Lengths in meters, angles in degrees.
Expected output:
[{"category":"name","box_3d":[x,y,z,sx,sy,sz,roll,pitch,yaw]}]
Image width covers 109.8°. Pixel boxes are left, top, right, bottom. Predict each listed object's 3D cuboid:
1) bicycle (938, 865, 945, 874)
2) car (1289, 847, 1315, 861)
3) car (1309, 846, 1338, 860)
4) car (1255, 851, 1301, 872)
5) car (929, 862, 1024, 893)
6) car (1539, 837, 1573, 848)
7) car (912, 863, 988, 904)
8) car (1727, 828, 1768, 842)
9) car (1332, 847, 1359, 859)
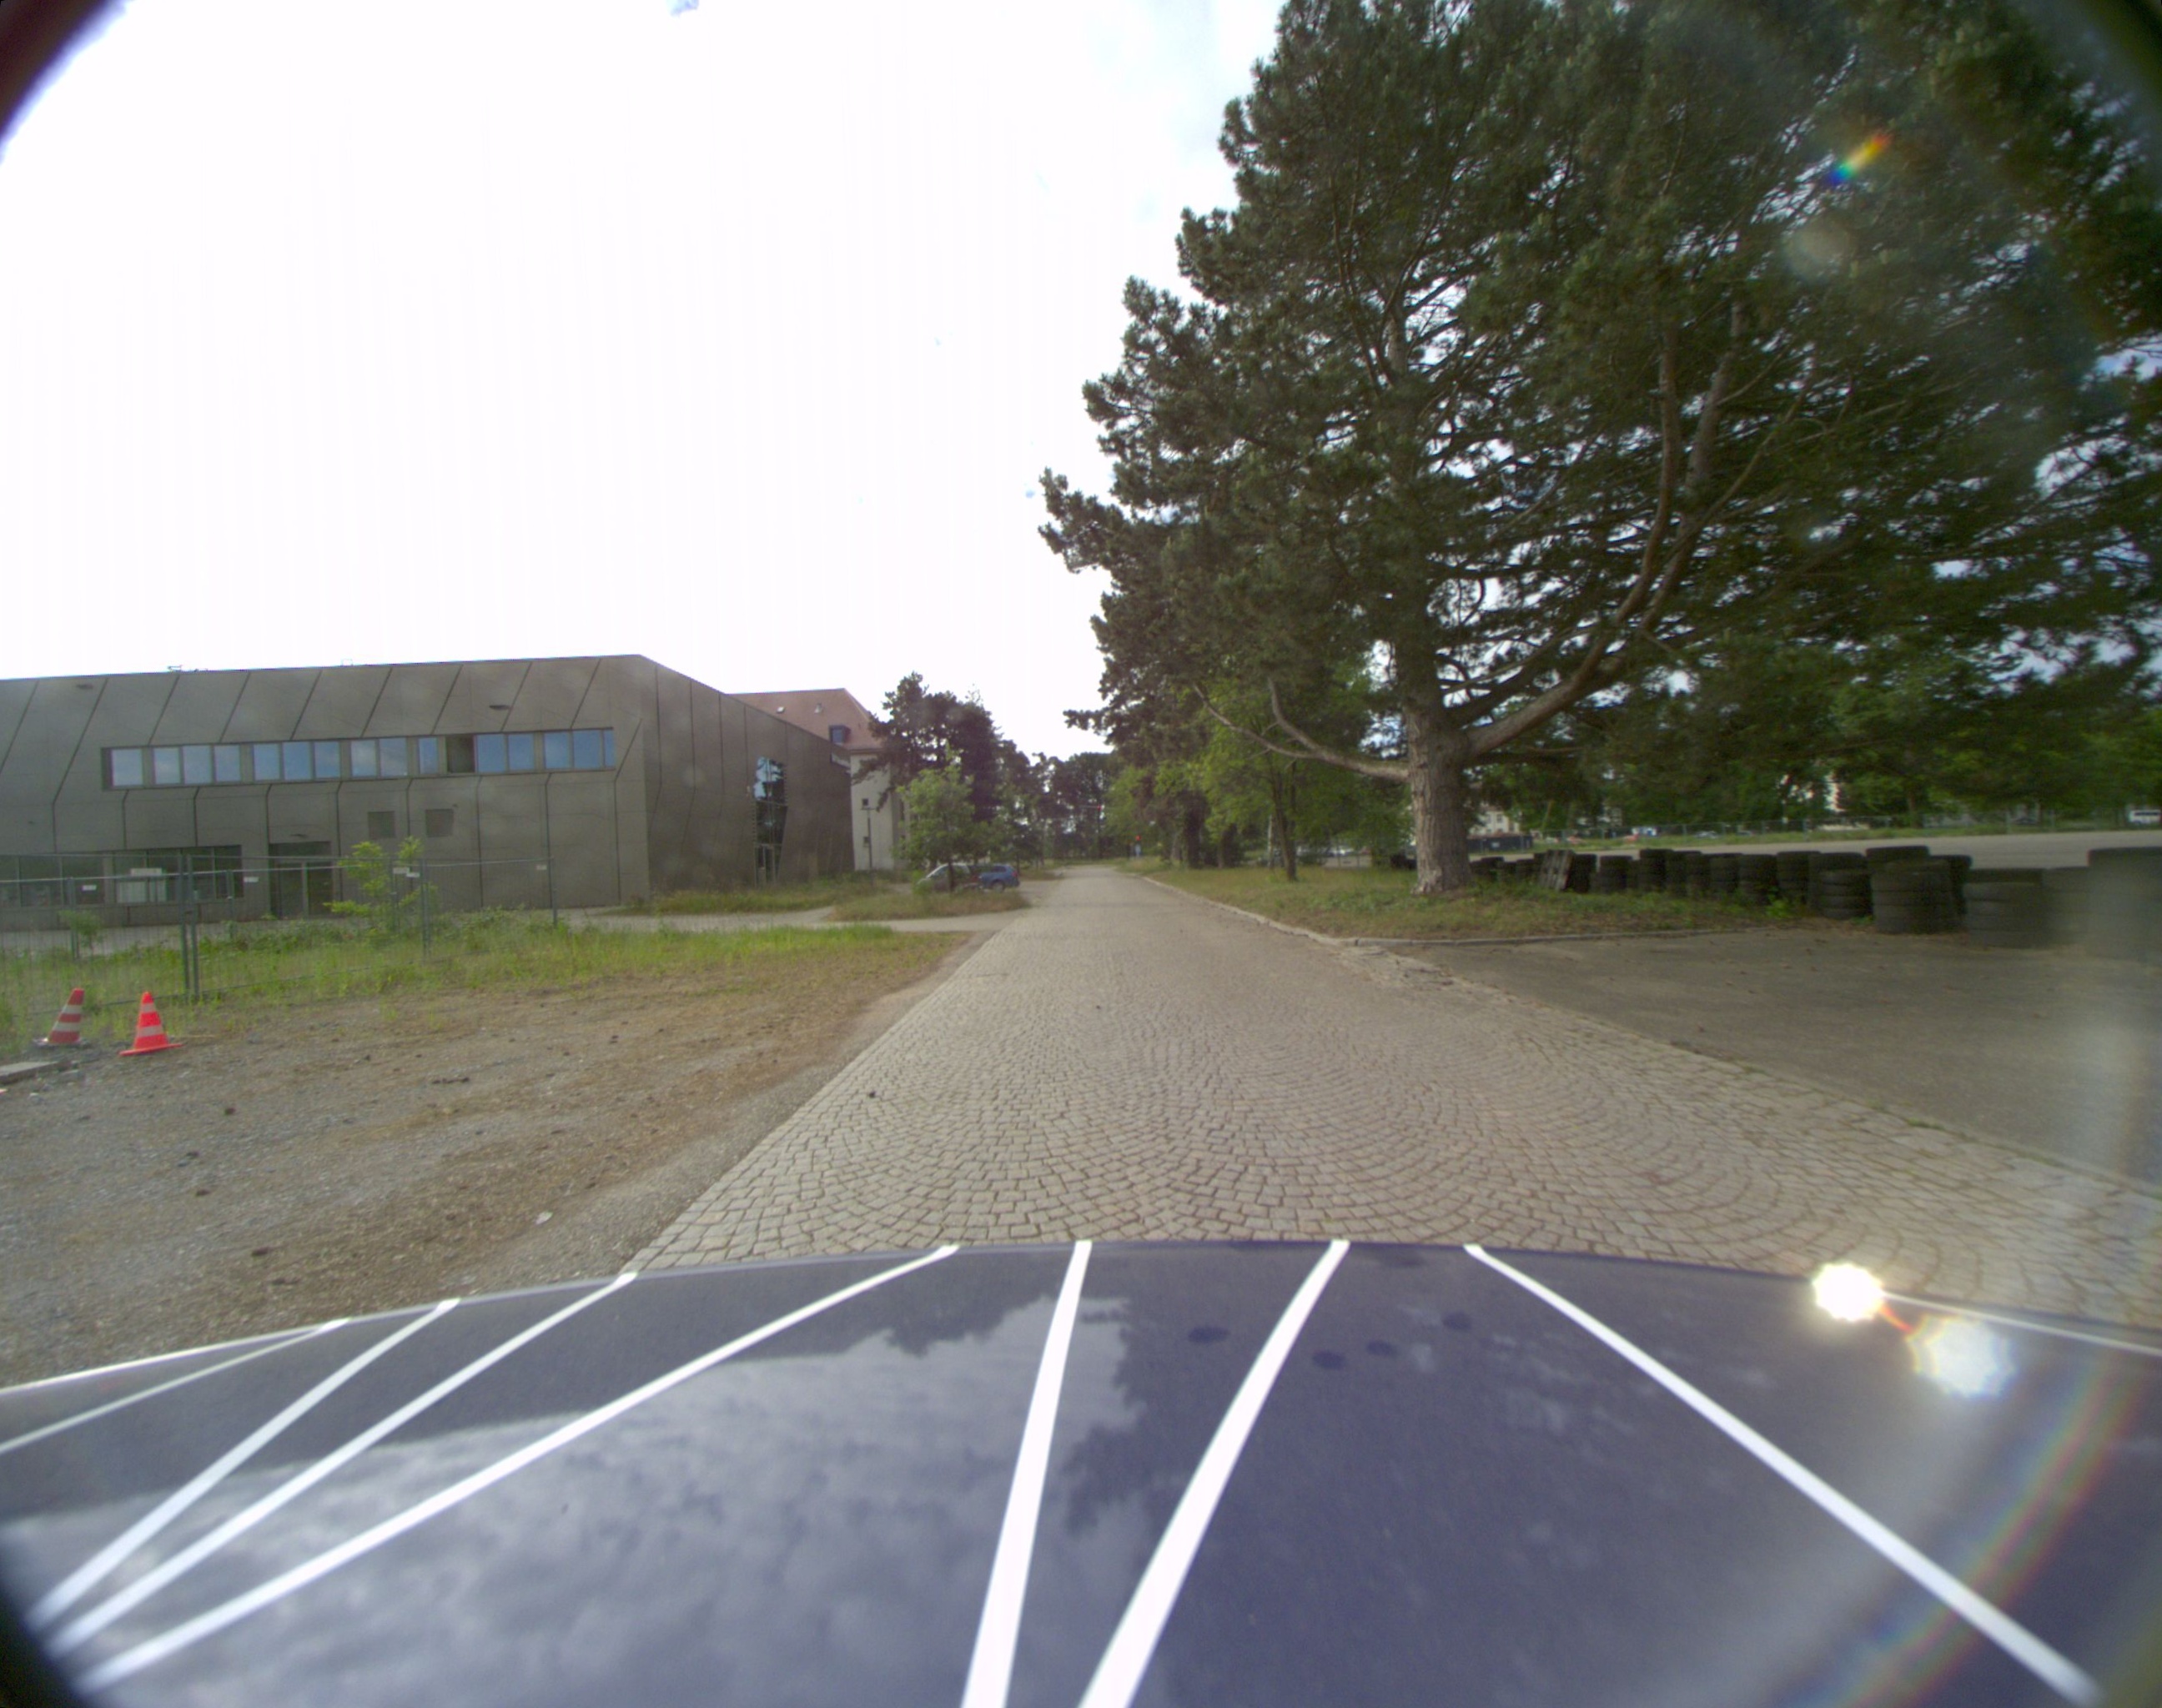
[{"category":"bicycle","box_3d":[-17.949,2.047,97.825,0.476,1.121,1.656,-2,0,-1]},{"category":"car","box_3d":[26.172,0.003,89.989,1.674,1.510,3.899,-2,-2,-3]},{"category":"car","box_3d":[28.820,-0.110,90.384,1.829,1.466,4.401,-2,0,-3]},{"category":"car","box_3d":[13.535,0.526,52.454,1.829,1.408,4.420,0,0,-2]},{"category":"car","box_3d":[-5.180,1.172,38.104,4.503,1.466,1.830,-1,0,-2]},{"category":"car","box_3d":[63.299,-1.517,101.371,1.711,1.343,4.402,-2,0,0]},{"category":"car","box_3d":[-5.278,1.164,30.759,2.716,1.547,1.654,-1,0,2]},{"category":"car","box_3d":[88.668,-2.525,101.178,1.828,1.712,4.585,-2,0,8]},{"category":"car","box_3d":[31.614,-0.137,90.898,1.637,1.391,4.037,-2,0,-3]}]
